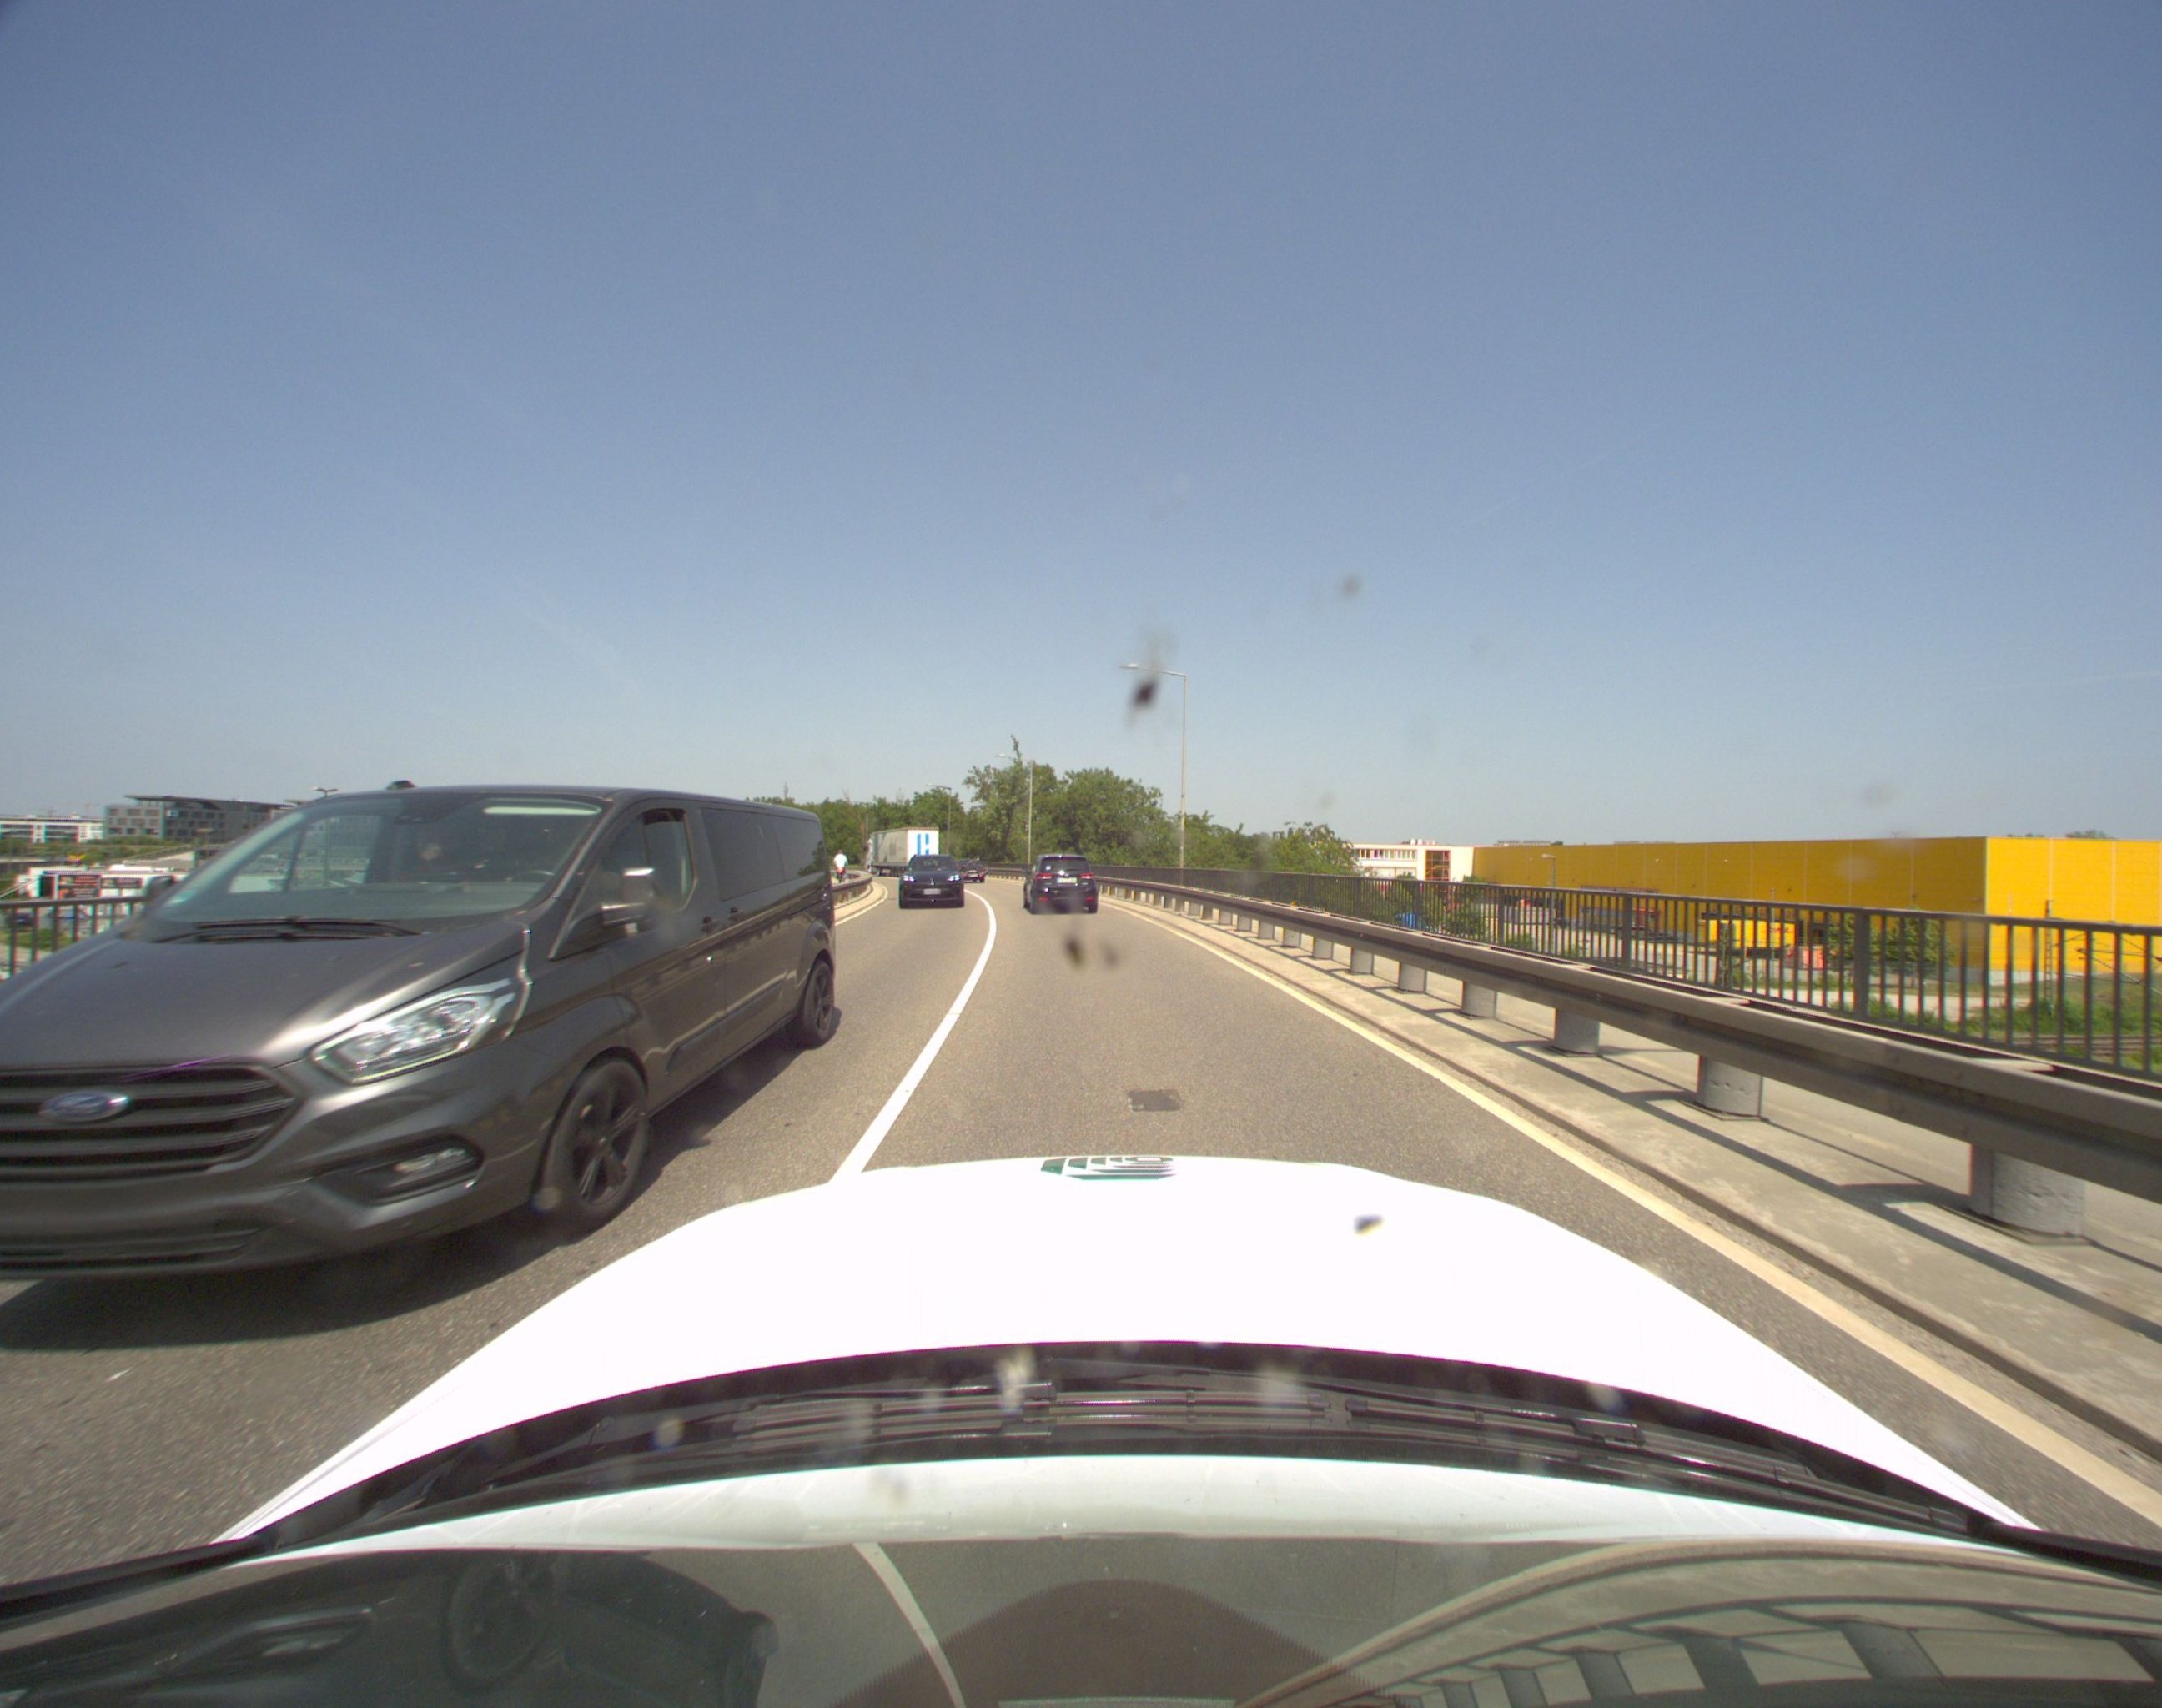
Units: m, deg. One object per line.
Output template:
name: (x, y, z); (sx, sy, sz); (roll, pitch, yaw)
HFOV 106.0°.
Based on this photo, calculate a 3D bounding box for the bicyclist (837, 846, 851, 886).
bicyclist: (-11.218, 0.571, 38.552); (0.626, 1.886, 0.708); (0, 0, -18)

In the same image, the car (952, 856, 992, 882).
car: (-6.522, 0.857, 48.504); (2.014, 1.429, 3.759); (0, 1, -14)

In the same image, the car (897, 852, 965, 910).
car: (-4.648, 0.777, 25.720); (1.891, 1.596, 4.475); (0, 1, -8)

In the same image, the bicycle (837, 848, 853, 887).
bicycle: (-11.186, 0.618, 38.547); (0.700, 1.801, 2.168); (0, 1, -17)

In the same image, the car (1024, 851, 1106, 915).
car: (-0.534, 0.725, 22.637); (1.919, 1.574, 3.882); (0, 1, -7)

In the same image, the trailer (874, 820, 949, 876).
trailer: (-14.762, -0.540, 69.852); (3.588, 4.384, 11.343); (-1, 1, -26)

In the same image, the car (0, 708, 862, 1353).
car: (-3.037, 0.562, 5.151); (2.002, 1.959, 5.267); (-1, -1, -2)

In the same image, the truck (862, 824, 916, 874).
truck: (-18.126, -0.488, 76.603); (3.591, 4.440, 6.460); (-1, 1, -26)
